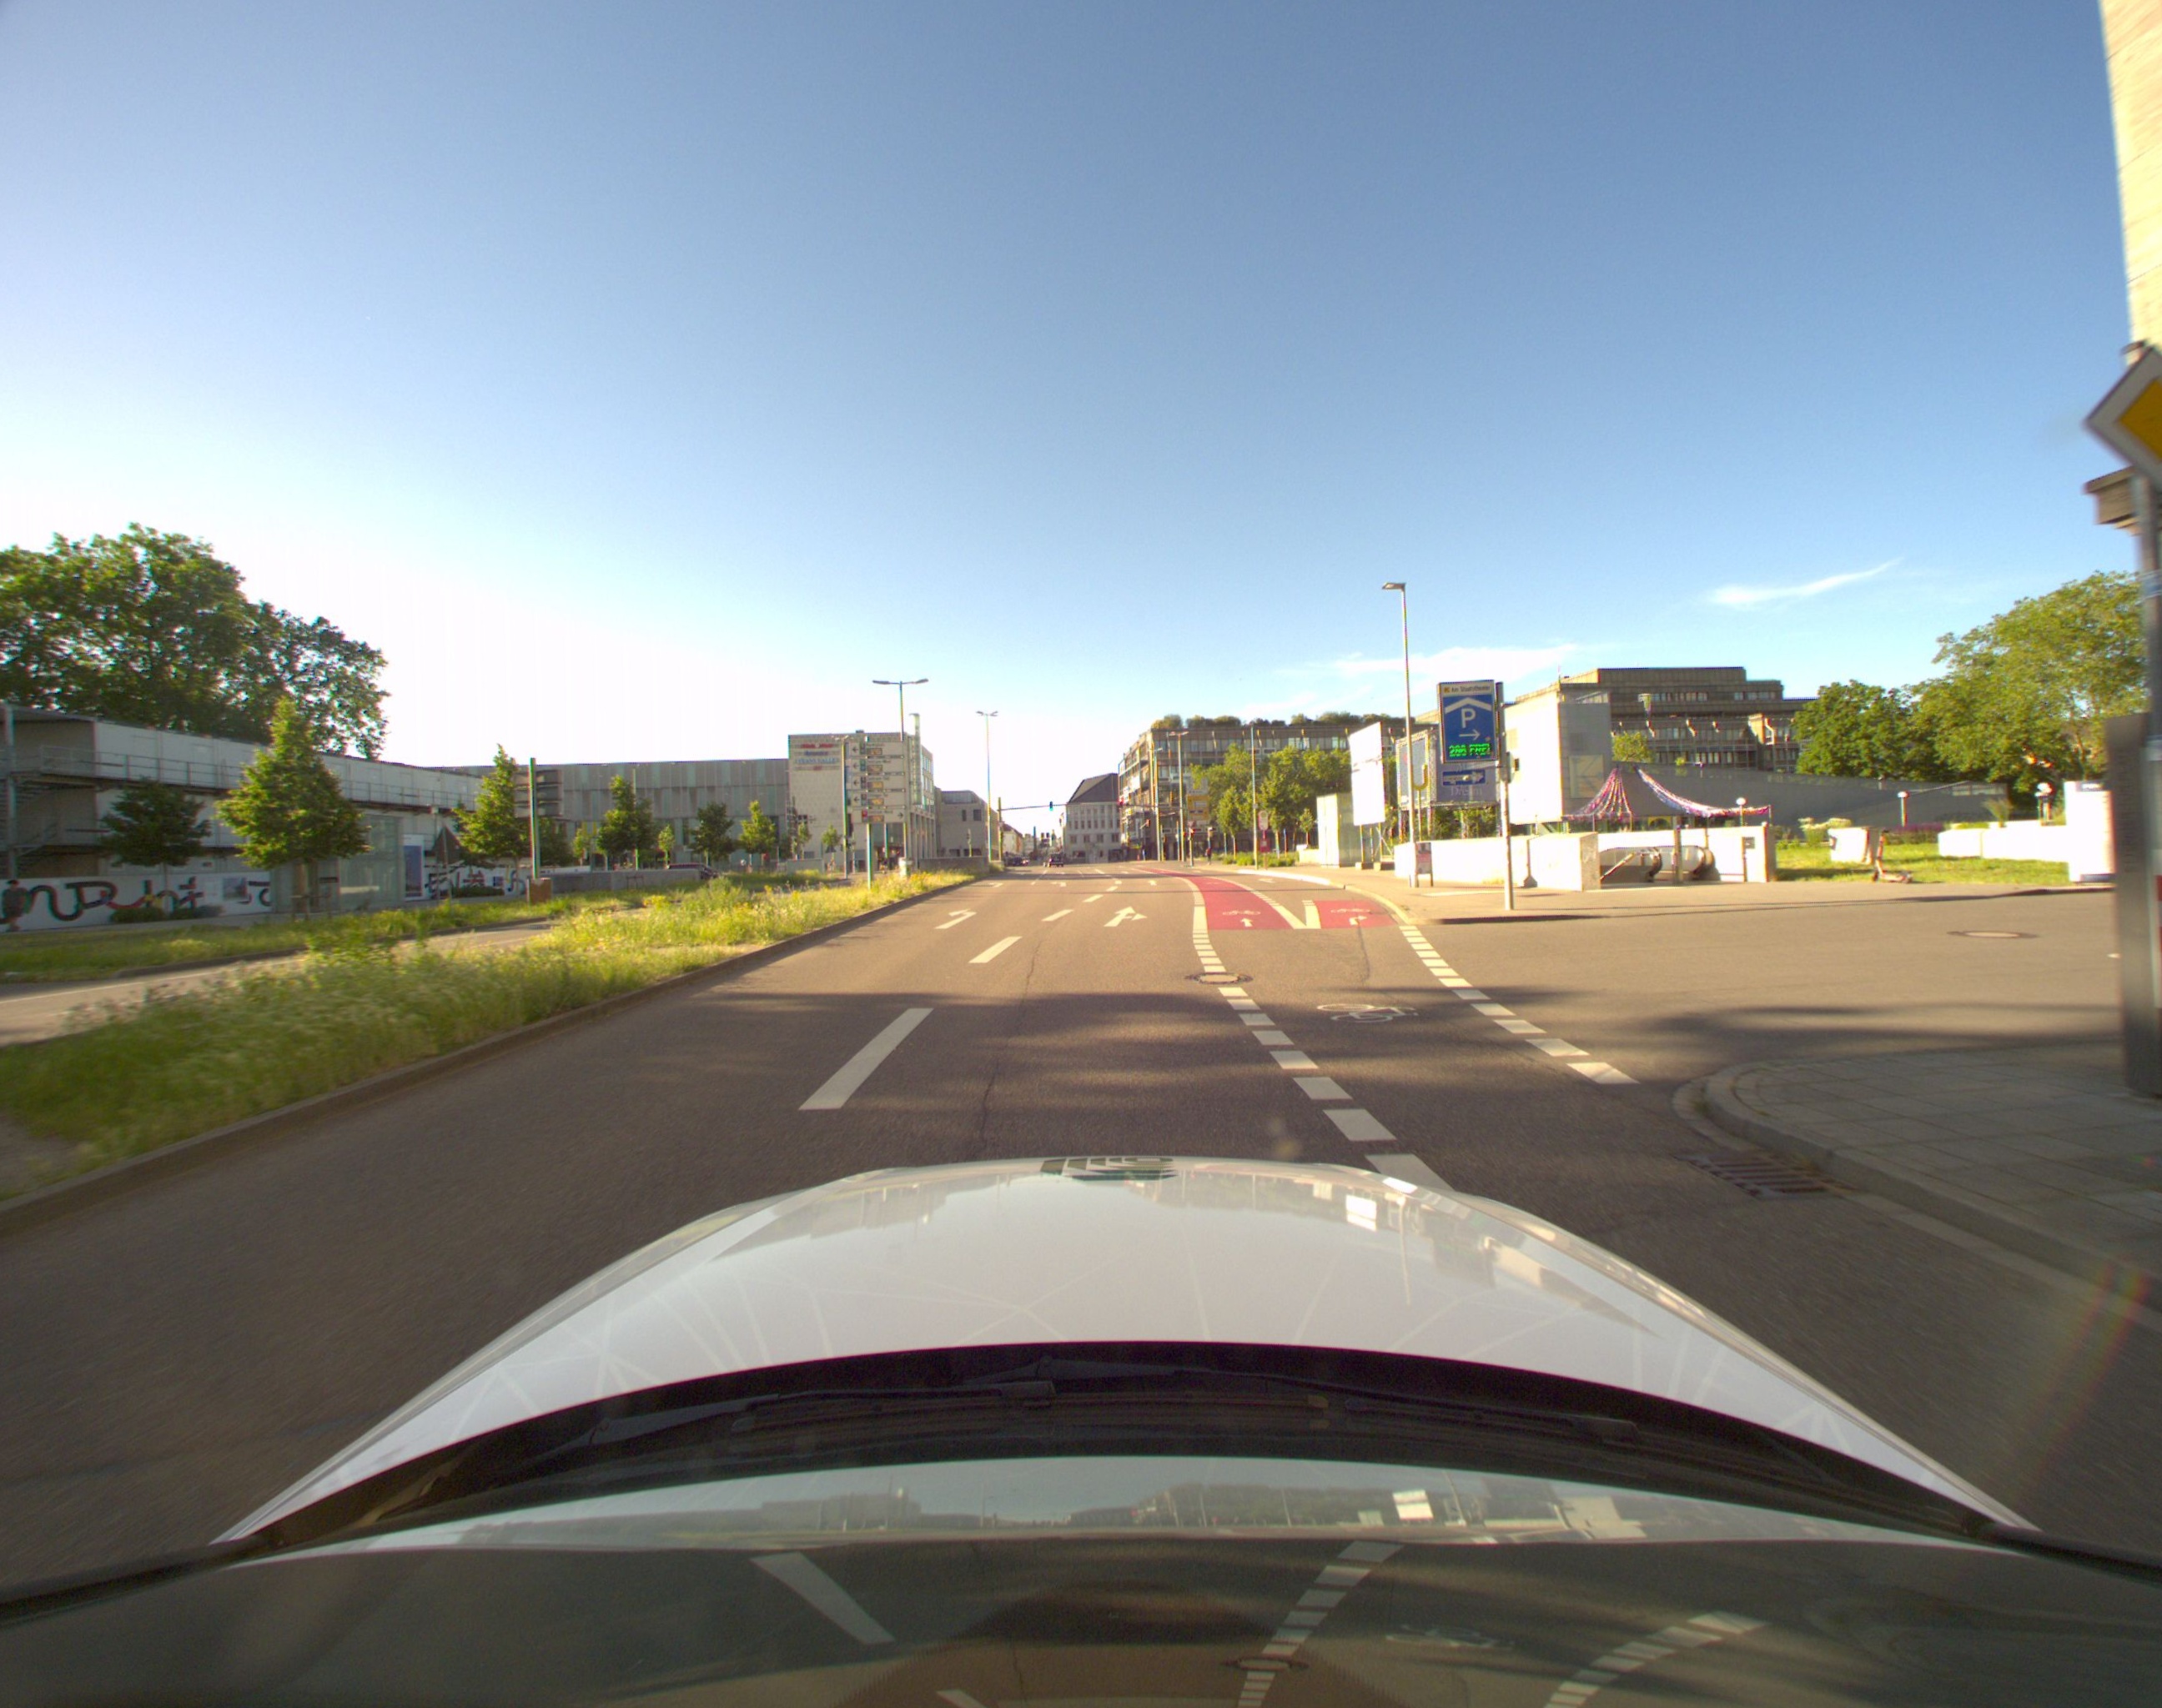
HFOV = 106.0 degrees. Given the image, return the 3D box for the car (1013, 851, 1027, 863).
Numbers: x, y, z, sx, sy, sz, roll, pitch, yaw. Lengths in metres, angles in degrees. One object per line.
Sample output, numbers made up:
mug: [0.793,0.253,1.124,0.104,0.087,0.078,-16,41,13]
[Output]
car: [-9.975,0.492,133.507,1.988,1.742,4.644,-2,1,-1]

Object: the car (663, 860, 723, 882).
car: [-36.248,1.578,76.222,4.639,1.810,1.866,-3,-2,-9]

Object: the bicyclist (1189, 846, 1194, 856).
bicyclist: [14.877,-0.380,109.409,0.506,1.338,0.453,-2,0,1]

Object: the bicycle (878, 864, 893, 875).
bicycle: [-16.943,1.309,70.576,0.609,0.861,1.953,-2,0,4]

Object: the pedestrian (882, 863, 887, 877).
pedestrian: [-29.257,2.353,121.174,0.623,2.013,0.514,-2,0,-10]

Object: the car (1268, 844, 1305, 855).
car: [28.805,-0.586,114.114,4.623,1.356,1.997,-2,1,-5]

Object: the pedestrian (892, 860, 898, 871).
pedestrian: [-27.365,1.715,119.694,0.621,1.608,0.653,-2,0,-2]

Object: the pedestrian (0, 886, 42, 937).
pedestrian: [-36.385,1.955,27.850,0.578,1.688,0.835,-2,0,-3]

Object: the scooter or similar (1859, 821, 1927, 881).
scooter or similar: [17.757,-0.066,17.836,0.358,1.245,1.374,-4,0,15]

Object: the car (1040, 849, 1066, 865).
car: [-3.064,0.330,87.249,1.781,1.564,3.766,-2,0,-18]

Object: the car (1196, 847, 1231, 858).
car: [18.848,-0.266,116.176,4.623,1.356,1.997,-2,1,-5]

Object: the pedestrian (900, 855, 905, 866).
pedestrian: [-26.286,0.945,119.770,0.621,1.608,0.653,-2,0,-2]

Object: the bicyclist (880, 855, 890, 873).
bicyclist: [-16.962,0.843,70.645,0.604,1.489,0.682,-2,0,4]

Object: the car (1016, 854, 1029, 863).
car: [-10.269,0.776,142.639,1.988,1.356,4.644,-2,1,-1]

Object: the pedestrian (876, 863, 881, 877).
pedestrian: [-29.938,2.383,120.580,0.623,2.013,0.514,-2,0,-10]

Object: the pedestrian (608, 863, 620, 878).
pedestrian: [-48.557,1.751,84.656,0.800,1.502,0.722,-2,0,-9]

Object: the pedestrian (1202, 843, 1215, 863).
pedestrian: [11.810,-0.094,75.419,0.814,1.748,1.047,-3,-1,20]

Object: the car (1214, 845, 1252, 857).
car: [20.298,-0.380,108.575,4.623,1.356,1.997,-2,1,-5]

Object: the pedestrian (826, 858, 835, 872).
pedestrian: [-26.537,1.167,86.242,0.722,1.502,0.800,-2,0,-10]
